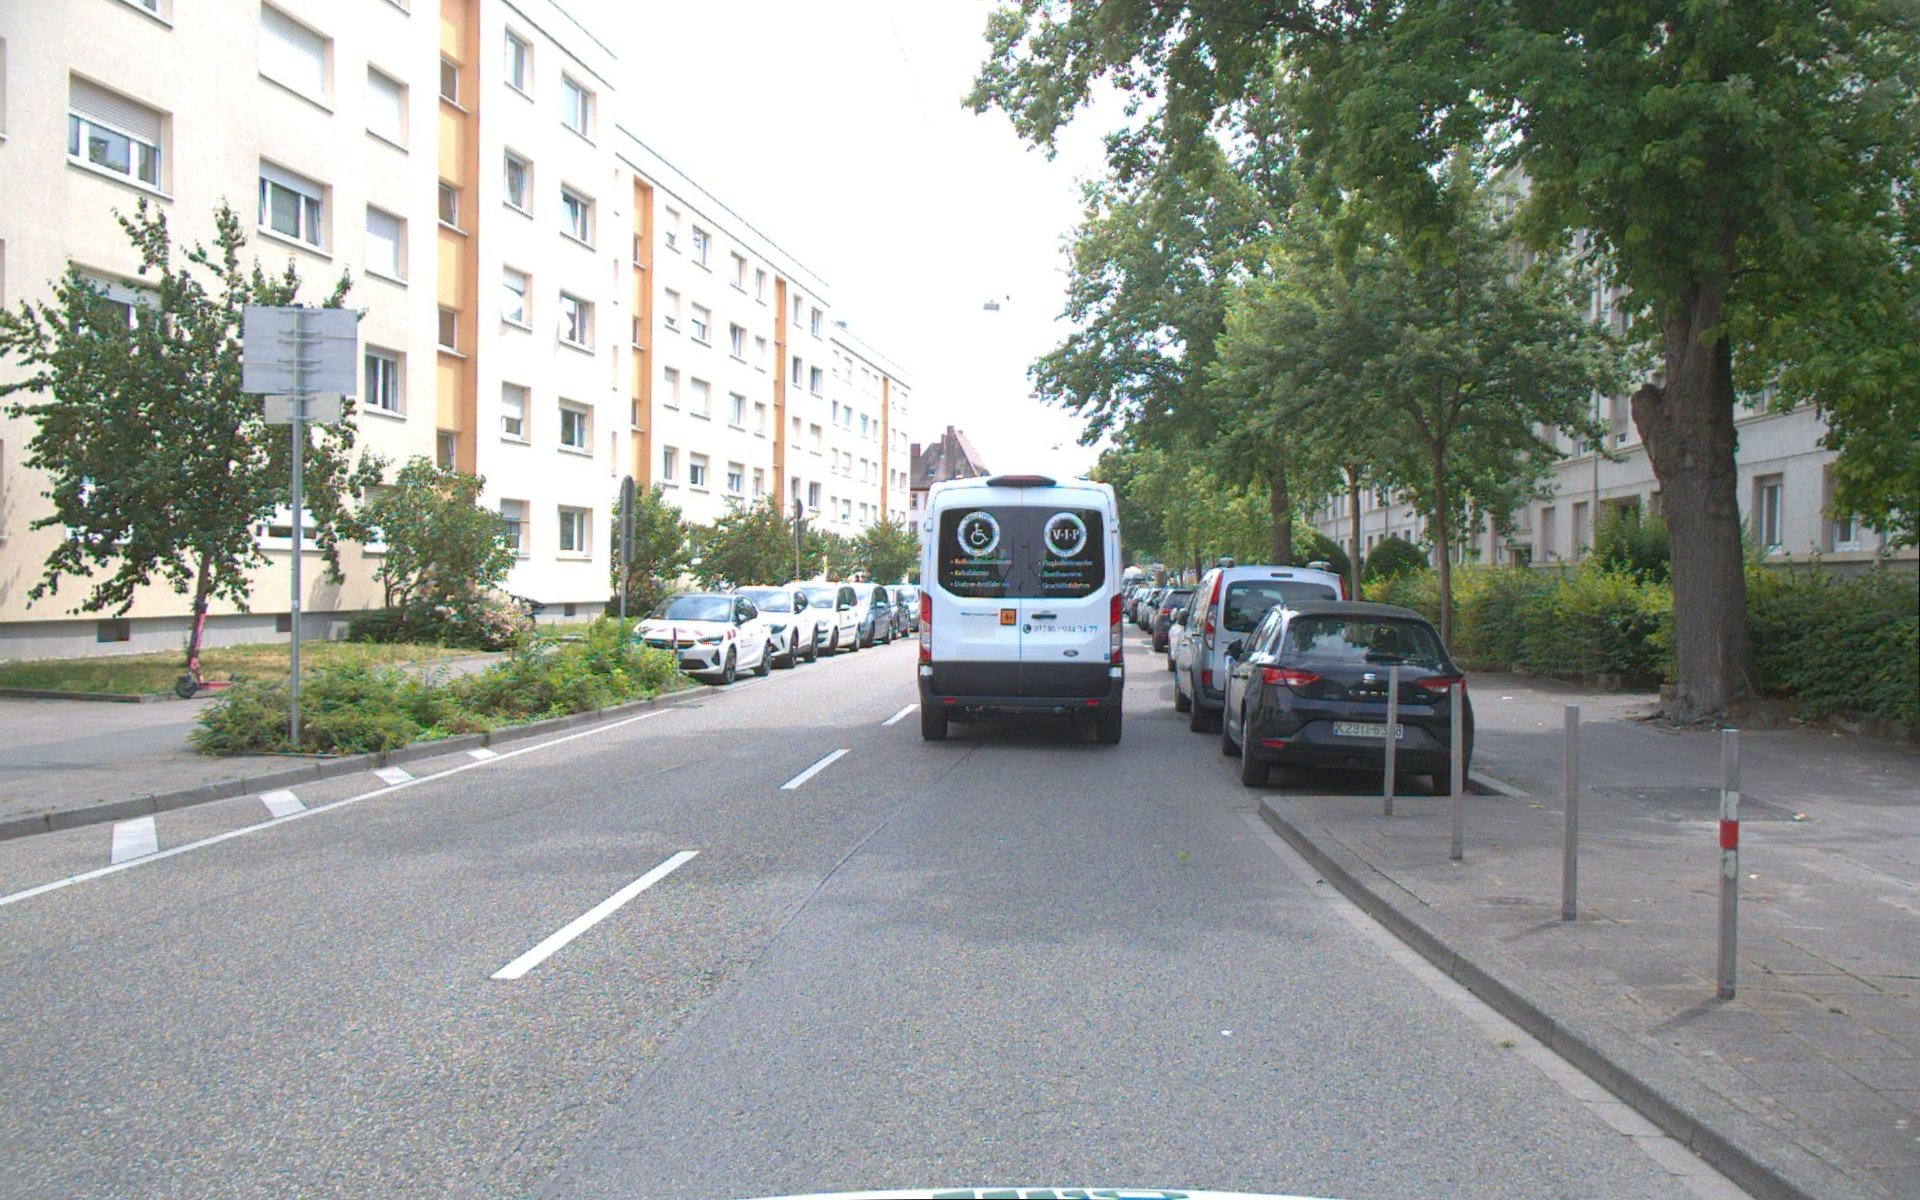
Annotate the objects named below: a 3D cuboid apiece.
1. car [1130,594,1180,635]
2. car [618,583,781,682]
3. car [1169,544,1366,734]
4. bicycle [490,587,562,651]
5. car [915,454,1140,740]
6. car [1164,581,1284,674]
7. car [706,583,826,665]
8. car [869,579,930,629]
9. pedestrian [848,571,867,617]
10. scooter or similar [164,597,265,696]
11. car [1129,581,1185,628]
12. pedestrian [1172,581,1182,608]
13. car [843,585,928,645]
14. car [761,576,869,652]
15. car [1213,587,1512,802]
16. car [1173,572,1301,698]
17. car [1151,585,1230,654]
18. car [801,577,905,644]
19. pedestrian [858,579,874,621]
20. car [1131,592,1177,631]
[{"bbox_3d":[7.319,0.517,62.250,1.635,1.425,3.853,3,0,4],"label":"car"},{"bbox_3d":[-4.309,0.500,27.945,1.672,1.498,3.992,2,0,7],"label":"car"},{"bbox_3d":[3.479,0.389,19.490,1.877,1.898,4.850,2,0,6],"label":"car"},{"bbox_3d":[-9.090,0.383,34.732,0.566,1.273,1.935,1,1,15],"label":"bicycle"},{"bbox_3d":[0.744,-0.019,17.339,2.027,2.585,4.636,0,0,3],"label":"car"},{"bbox_3d":[4.517,0.425,28.764,1.661,1.475,4.103,1,0,4],"label":"car"},{"bbox_3d":[-3.853,0.449,33.448,1.673,1.498,3.991,2,0,3],"label":"car"},{"bbox_3d":[-2.019,0.116,56.290,1.635,1.589,3.853,2,0,4],"label":"car"},{"bbox_3d":[-4.200,-0.250,67.758,0.606,1.844,0.899,1,0,3],"label":"pedestrian"},{"bbox_3d":[-9.487,0.579,21.090,0.393,1.214,1.291,2,0,16],"label":"scooter or similar"},{"bbox_3d":[6.766,0.134,57.070,1.661,1.495,4.720,2,0,4],"label":"car"},{"bbox_3d":[15.293,-0.387,116.560,0.518,1.860,0.517,0,0,-37],"label":"pedestrian"},{"bbox_3d":[-2.197,0.422,49.703,1.901,1.641,4.305,2,0,6],"label":"car"},{"bbox_3d":[-3.332,0.299,38.822,1.661,1.641,4.480,2,0,6],"label":"car"},{"bbox_3d":[3.182,0.661,13.903,1.877,1.469,4.242,2,0,6],"label":"car"},{"bbox_3d":[3.958,0.459,24.107,1.571,1.636,3.807,2,0,6],"label":"car"},{"bbox_3d":[5.413,0.421,39.186,1.661,1.495,4.104,2,0,6],"label":"car"},{"bbox_3d":[-2.794,0.255,44.394,1.901,1.641,4.865,2,0,7],"label":"car"},{"bbox_3d":[-4.105,0.008,72.426,0.606,1.845,0.804,0,0,3],"label":"pedestrian"},{"bbox_3d":[7.928,0.450,67.387,1.742,1.495,4.618,2,0,8],"label":"car"}]
